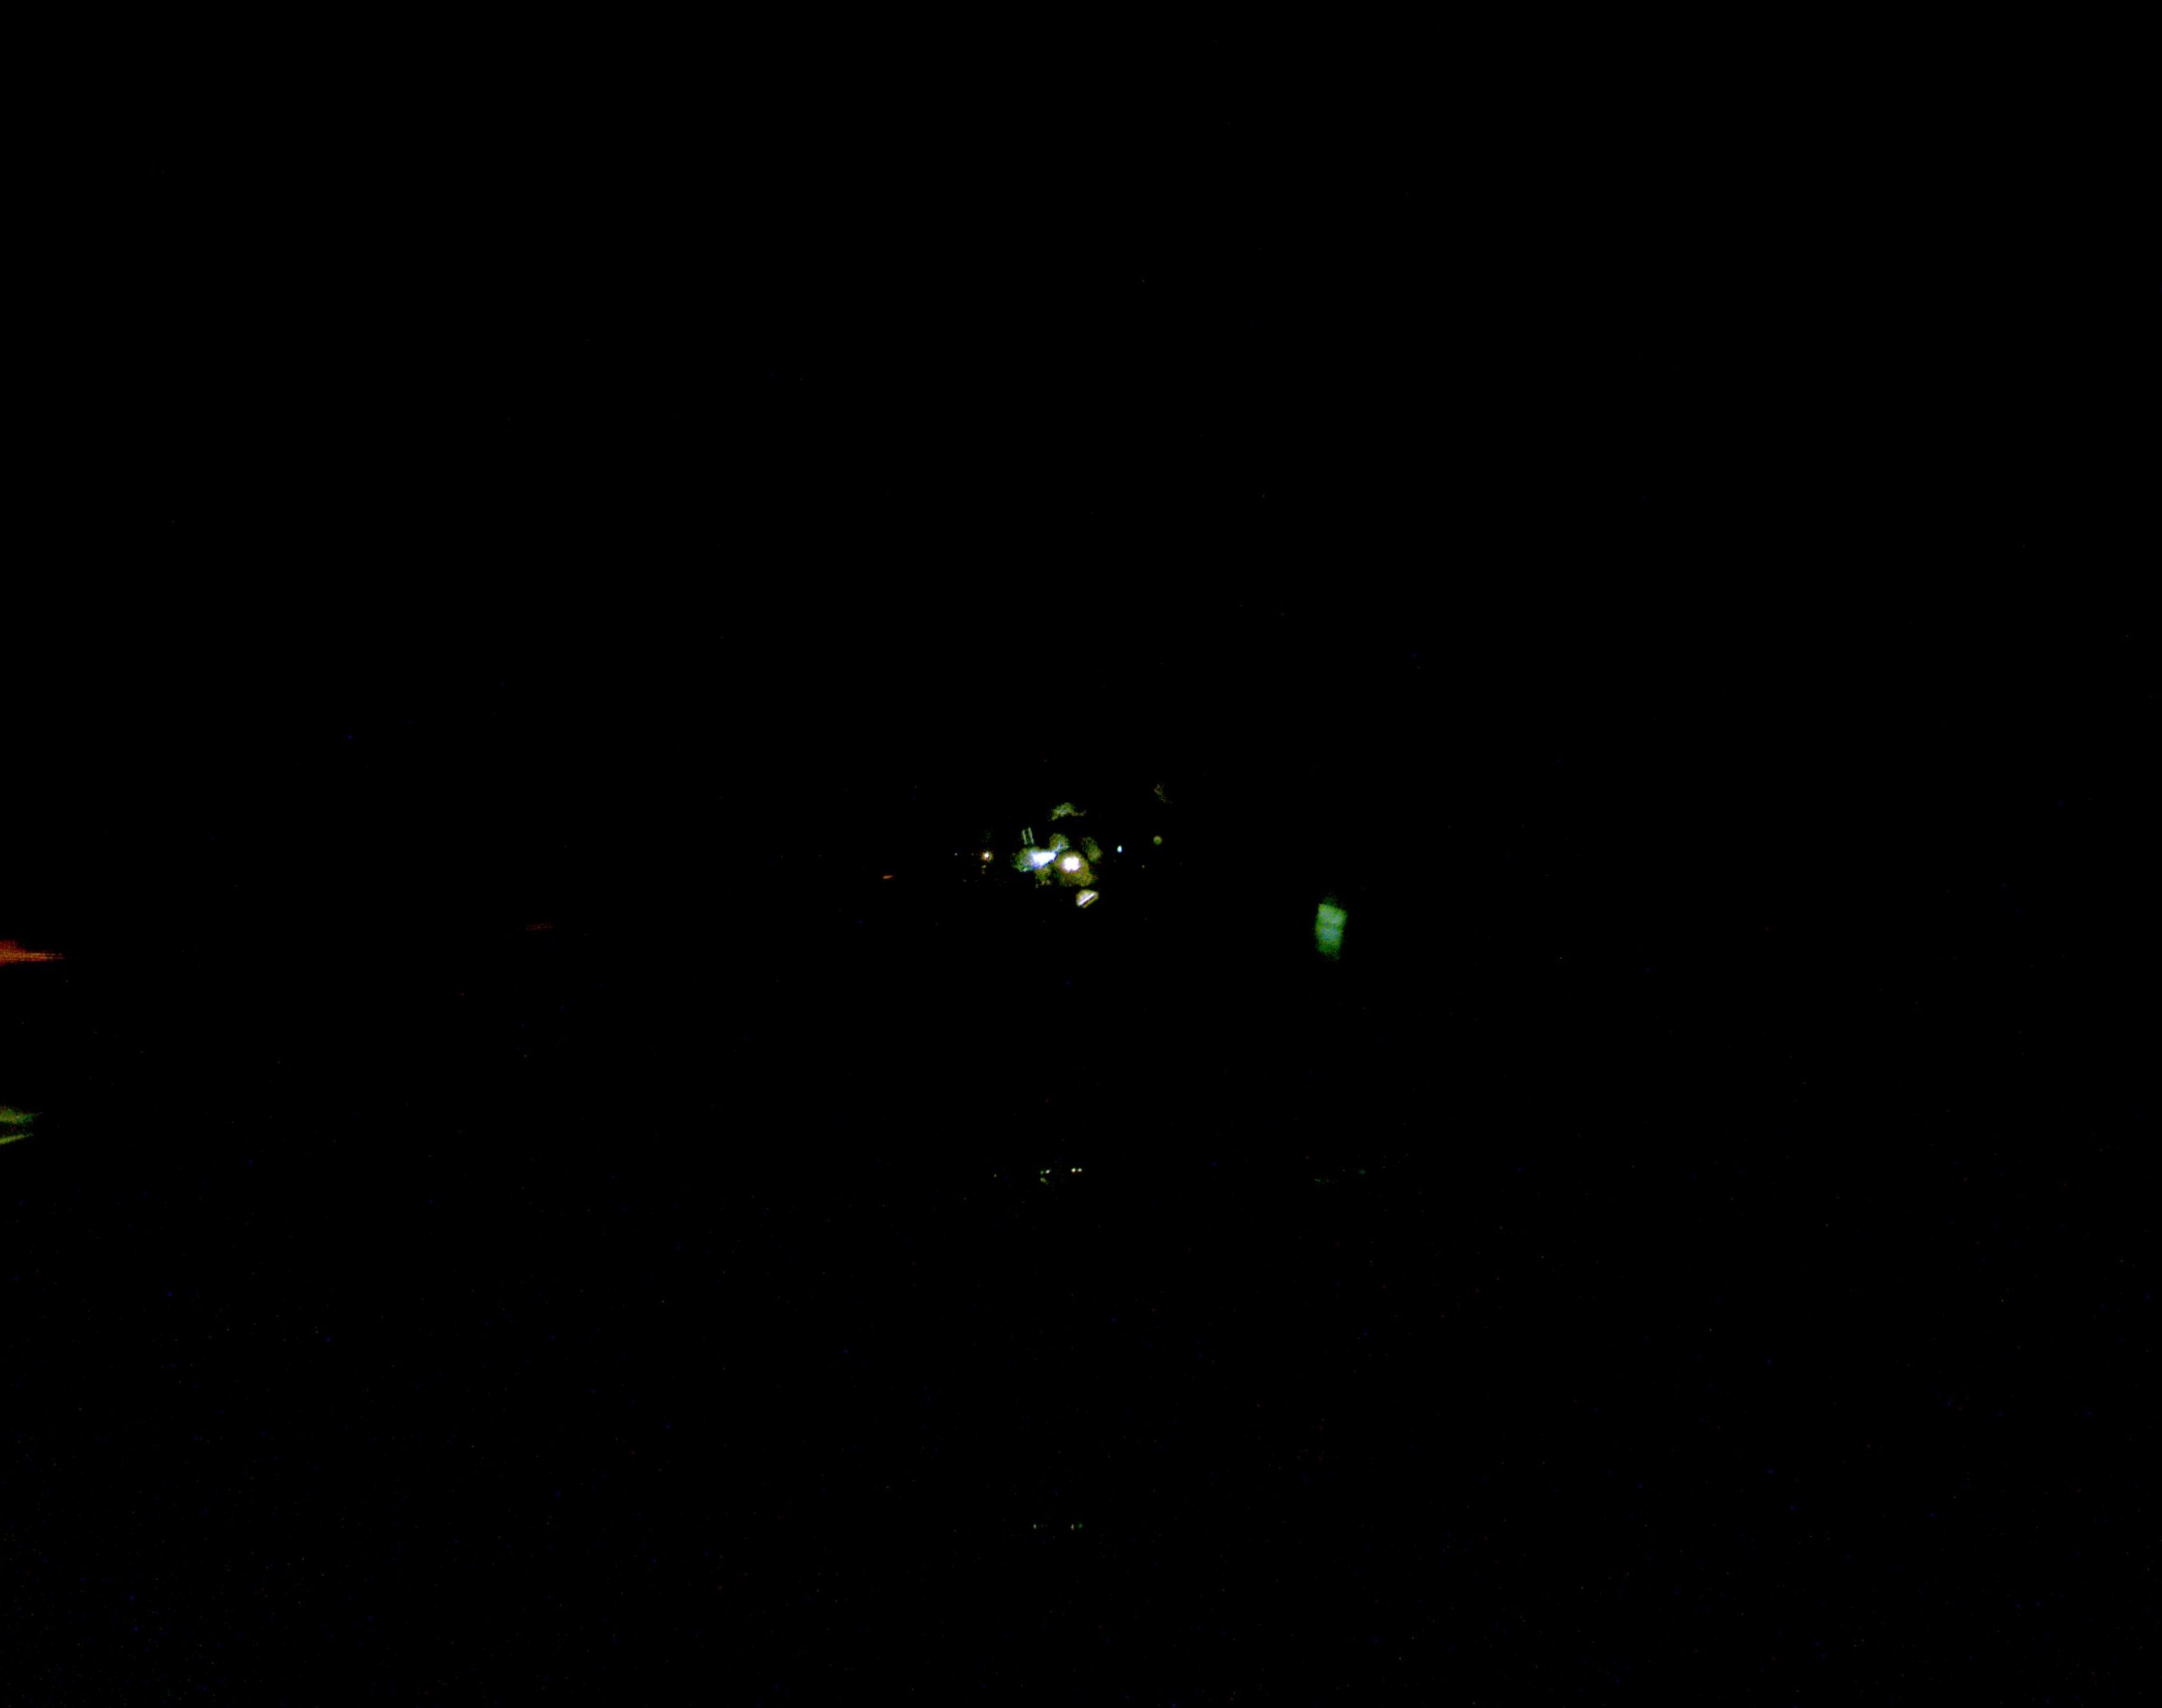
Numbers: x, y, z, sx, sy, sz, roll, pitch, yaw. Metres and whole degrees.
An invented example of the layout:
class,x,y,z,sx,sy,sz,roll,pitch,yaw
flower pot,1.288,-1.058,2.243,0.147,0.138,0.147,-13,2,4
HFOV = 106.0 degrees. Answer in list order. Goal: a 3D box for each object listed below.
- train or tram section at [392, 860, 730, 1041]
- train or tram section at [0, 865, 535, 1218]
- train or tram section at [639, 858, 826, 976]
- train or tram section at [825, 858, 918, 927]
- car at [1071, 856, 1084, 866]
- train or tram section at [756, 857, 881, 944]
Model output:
class,x,y,z,sx,sy,sz,roll,pitch,yaw
train or tram section,-12.214,1.956,20.512,2.834,3.460,8.554,-1,0,1
train or tram section,-12.366,1.991,11.896,2.834,3.460,8.554,-1,0,1
train or tram section,-11.968,1.941,29.120,2.834,3.460,8.554,-1,0,1
train or tram section,-11.665,2.013,46.263,2.834,3.460,8.554,-1,0,1
car,-0.616,1.187,137.952,1.987,1.457,4.097,-3,-1,-1
train or tram section,-11.826,1.932,37.724,2.834,3.460,8.554,-1,0,1
